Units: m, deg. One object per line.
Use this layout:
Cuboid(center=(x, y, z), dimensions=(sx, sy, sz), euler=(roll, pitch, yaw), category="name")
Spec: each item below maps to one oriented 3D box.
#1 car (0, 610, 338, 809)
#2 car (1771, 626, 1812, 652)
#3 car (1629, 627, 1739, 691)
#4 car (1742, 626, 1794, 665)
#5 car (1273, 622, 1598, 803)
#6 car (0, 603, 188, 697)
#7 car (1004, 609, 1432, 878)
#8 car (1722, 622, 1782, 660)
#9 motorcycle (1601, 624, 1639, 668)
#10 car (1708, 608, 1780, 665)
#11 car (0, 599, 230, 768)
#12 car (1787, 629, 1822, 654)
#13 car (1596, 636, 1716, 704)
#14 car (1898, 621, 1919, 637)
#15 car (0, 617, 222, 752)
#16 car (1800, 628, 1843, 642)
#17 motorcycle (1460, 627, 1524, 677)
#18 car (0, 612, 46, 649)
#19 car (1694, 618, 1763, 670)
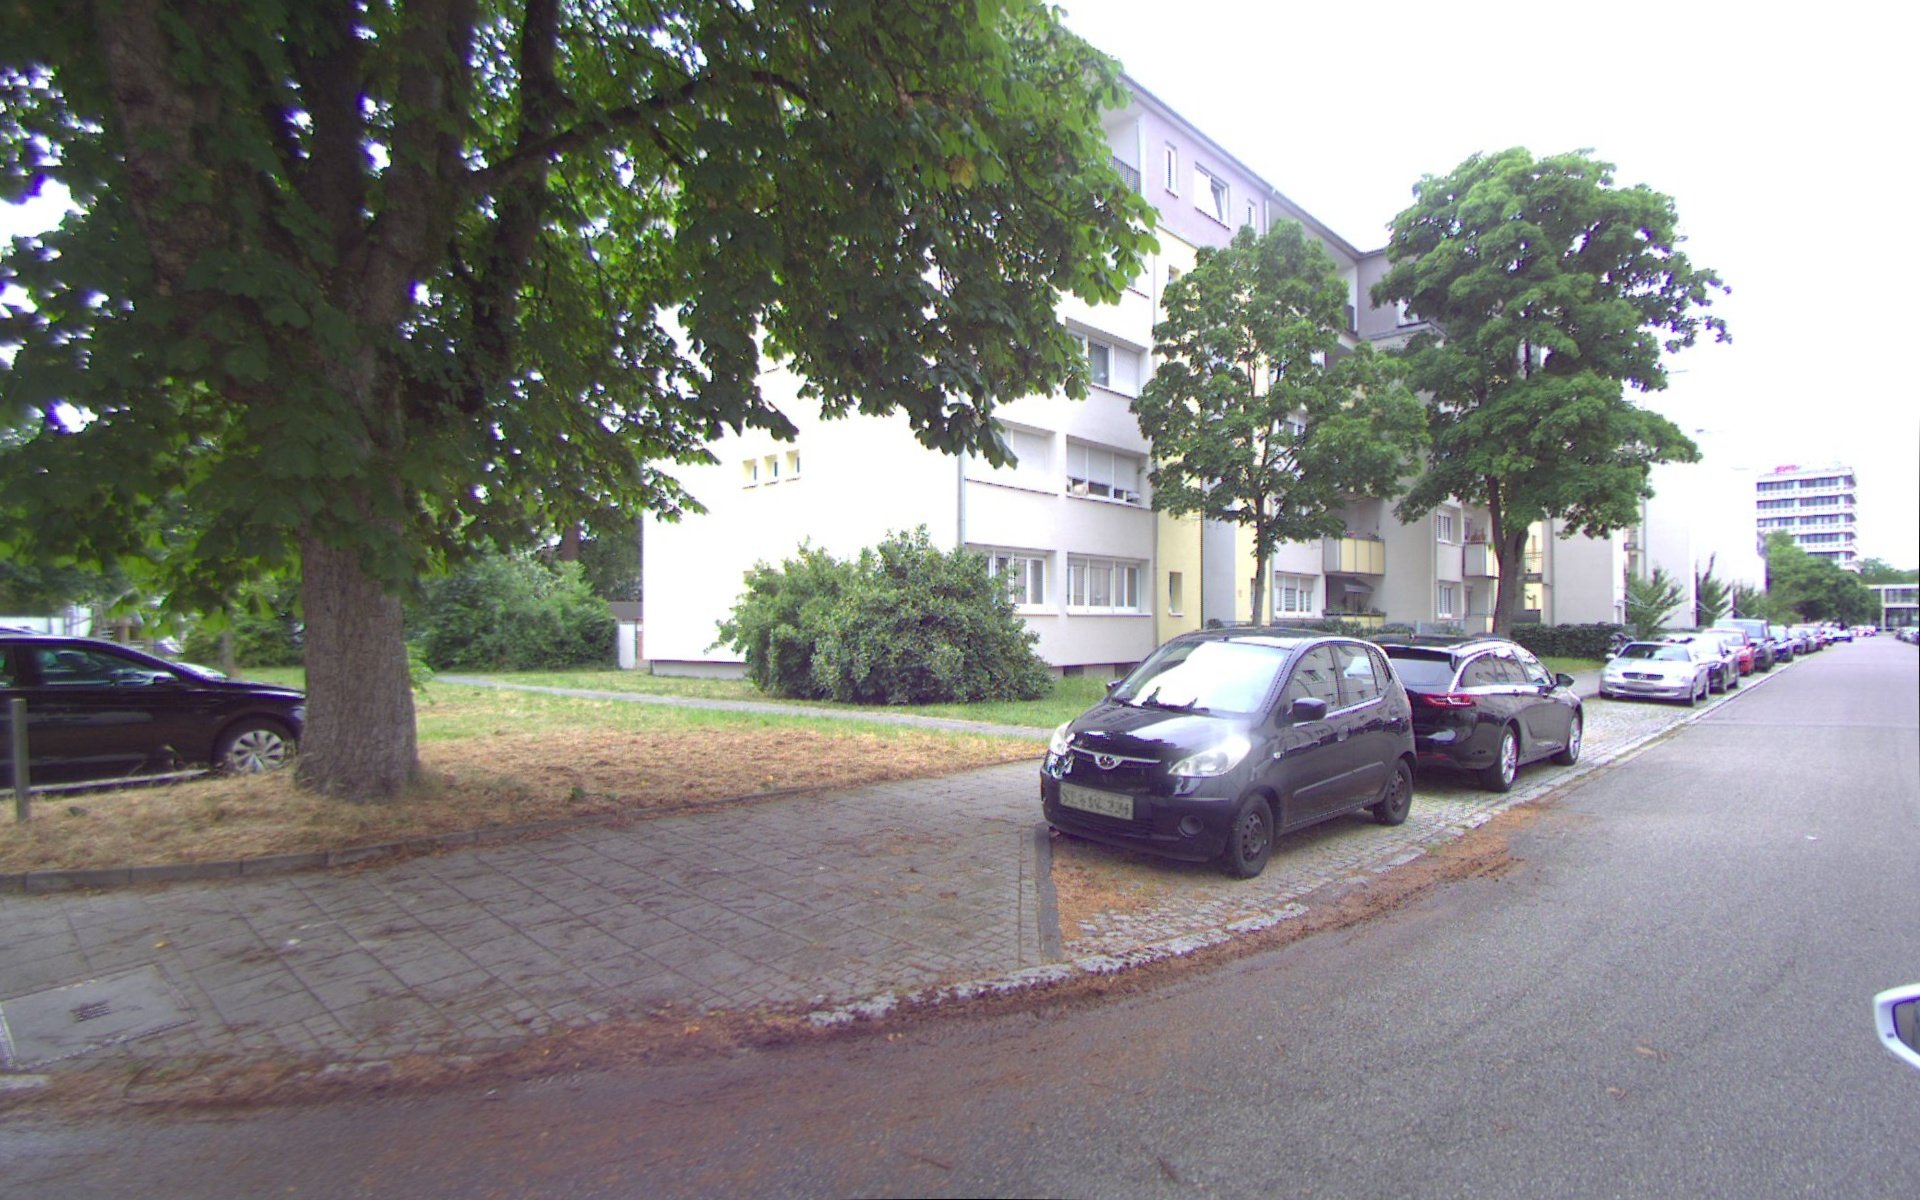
Cuboid(center=(-8.039, 0.908, 9.069), dimensions=(1.806, 1.598, 3.818), euler=(-2, -2, 45), category="car")
Cuboid(center=(48.139, 2.238, 58.140), dimensions=(1.653, 1.370, 3.795), euler=(0, -1, 42), category="car")
Cuboid(center=(19.199, 1.478, 26.557), dimensions=(1.821, 1.440, 4.603), euler=(2, 0, 43), category="car")
Cuboid(center=(37.718, 2.067, 46.855), dimensions=(1.749, 1.665, 4.333), euler=(0, -1, 41), category="car")
Cuboid(center=(5.460, 1.036, 11.167), dimensions=(1.847, 1.484, 4.806), euler=(3, 1, 43), category="car")
Cuboid(center=(-17.917, 0.954, 19.678), dimensions=(1.858, 1.582, 4.125), euler=(1, 3, 42), category="car")
Cuboid(center=(2.113, 0.867, 7.647), dimensions=(3.568, 1.513, 1.509), euler=(1, 1, -45), category="car")
Cuboid(center=(33.640, 1.706, 42.630), dimensions=(1.809, 1.478, 4.238), euler=(0, -1, 41), category="car")
Cuboid(center=(22.050, 1.511, 33.548), dimensions=(0.670, 1.374, 2.217), euler=(3, 1, 42), category="motorcycle")
Cuboid(center=(29.355, 1.302, 37.554), dimensions=(1.857, 1.929, 5.006), euler=(3, 1, 40), category="car")
Cuboid(center=(-10.495, 0.856, 10.837), dimensions=(4.040, 1.720, 1.892), euler=(0, 0, -44), category="car")
Cuboid(center=(57.560, 2.796, 68.459), dimensions=(1.653, 1.546, 4.229), euler=(0, -1, 42), category="car")
Cuboid(center=(15.713, 1.498, 22.614), dimensions=(1.678, 1.275, 3.993), euler=(2, 0, 43), category="car")
Cuboid(center=(88.015, 2.703, 92.683), dimensions=(1.971, 1.417, 3.978), euler=(3, 1, 42), category="car")
Cuboid(center=(-12.154, 1.036, 12.742), dimensions=(4.327, 1.587, 1.818), euler=(0, 0, -44), category="car")
Cuboid(center=(80.113, 3.239, 93.470), dimensions=(1.513, 1.230, 3.743), euler=(0, -1, 15), category="car")
Cuboid(center=(14.272, 1.369, 26.887), dimensions=(0.674, 1.239, 3.047), euler=(1, 0, 44), category="motorcycle")
Cuboid(center=(-51.696, 1.614, 53.290), dimensions=(1.969, 1.884, 4.474), euler=(2, 1, 39), category="car")
Cuboid(center=(26.025, 1.448, 33.981), dimensions=(1.545, 1.590, 3.623), euler=(3, 1, 41), category="car")
